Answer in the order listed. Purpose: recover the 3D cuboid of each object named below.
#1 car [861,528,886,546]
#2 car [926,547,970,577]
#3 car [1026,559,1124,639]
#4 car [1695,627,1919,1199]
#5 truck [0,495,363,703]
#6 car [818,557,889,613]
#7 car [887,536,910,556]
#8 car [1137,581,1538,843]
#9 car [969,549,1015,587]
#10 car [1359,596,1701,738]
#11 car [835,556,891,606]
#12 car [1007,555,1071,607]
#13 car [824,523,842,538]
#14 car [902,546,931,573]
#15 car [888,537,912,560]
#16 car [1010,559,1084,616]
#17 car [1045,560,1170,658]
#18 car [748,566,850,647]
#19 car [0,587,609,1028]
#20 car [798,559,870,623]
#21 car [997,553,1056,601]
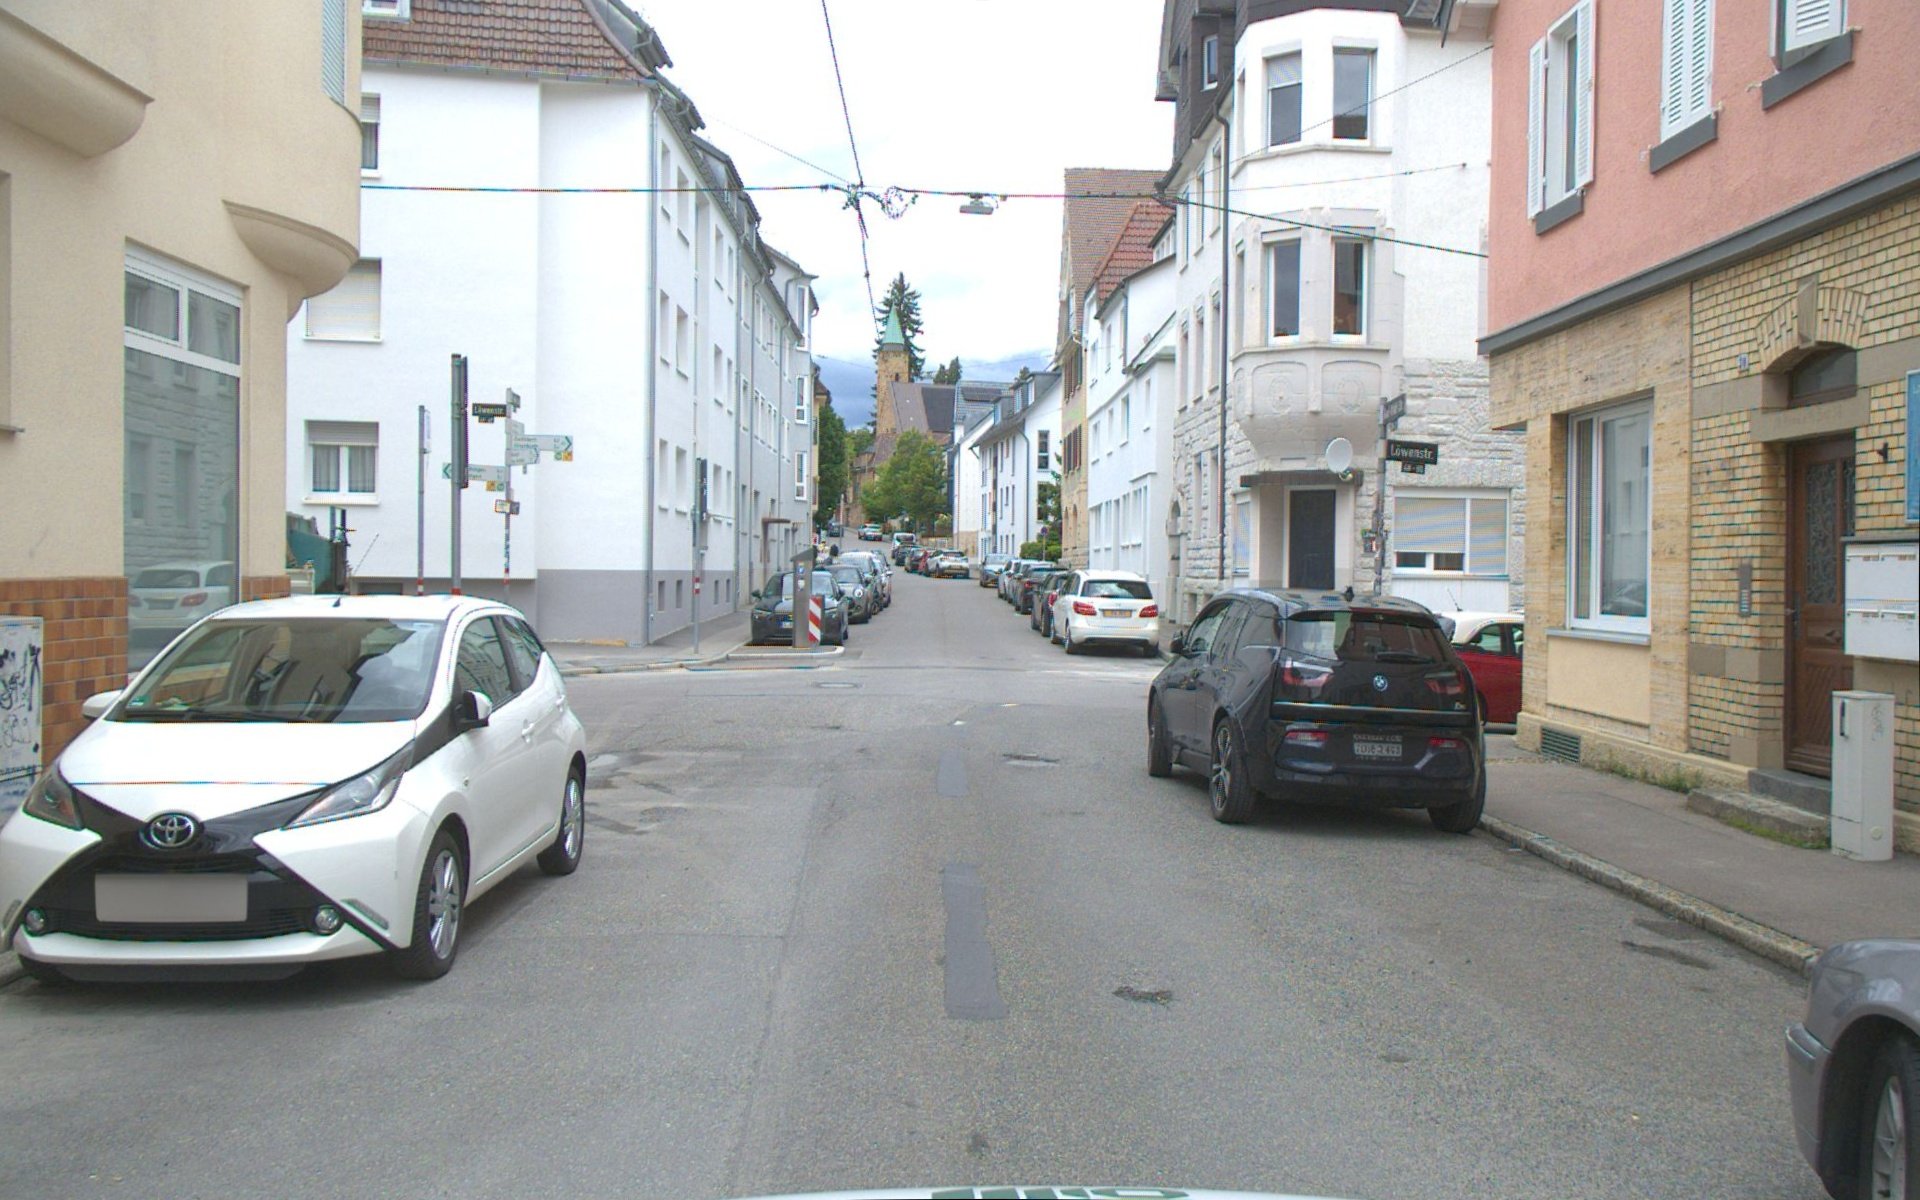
[{"bbox_3d":[-8.841,-6.413,168.584,2.141,1.722,3.620,1,3,-9],"label":"car"},{"bbox_3d":[-0.659,-2.110,90.246,1.752,1.504,3.618,1,3,-11],"label":"car"},{"bbox_3d":[2.544,-0.069,37.542,1.635,1.559,4.025,2,3,-4],"label":"car"},{"bbox_3d":[2.867,0.830,1.992,1.751,1.441,4.576,3,0,-2],"label":"car"},{"bbox_3d":[-11.384,-0.004,21.905,6.150,2.596,2.313,0,0,-9],"label":"truck"},{"bbox_3d":[-2.964,-0.455,46.738,1.694,1.495,3.721,0,2,1],"label":"car"},{"bbox_3d":[-4.852,-4.274,129.836,1.635,1.504,3.624,1,3,-4],"label":"car"},{"bbox_3d":[2.578,0.680,12.312,1.782,1.570,4.024,2,0,-4],"label":"car"},{"bbox_3d":[1.382,-1.420,71.967,1.635,1.504,3.624,2,3,-4],"label":"car"},{"bbox_3d":[6.915,0.792,20.216,3.547,1.505,1.670,2,1,-9],"label":"car"},{"bbox_3d":[-3.048,-0.626,52.162,1.696,1.473,3.718,0,2,-3],"label":"car"},{"bbox_3d":[2.541,-0.657,54.055,1.635,1.504,3.624,2,3,-4],"label":"car"},{"bbox_3d":[-13.360,-7.297,174.053,1.637,1.504,3.620,1,3,-9],"label":"car"},{"bbox_3d":[-2.664,-2.503,101.263,1.635,1.504,3.624,1,3,-4],"label":"car"},{"bbox_3d":[-4.306,-3.686,118.117,1.635,1.504,3.624,1,3,-4],"label":"car"},{"bbox_3d":[2.476,-0.395,47.937,1.635,1.409,4.025,2,3,-4],"label":"car"},{"bbox_3d":[2.822,0.124,32.456,1.784,1.626,4.025,2,3,-4],"label":"car"},{"bbox_3d":[-3.120,0.079,32.774,1.784,1.415,4.296,0,2,-3],"label":"car"},{"bbox_3d":[-2.775,0.699,7.430,1.633,1.459,3.815,0,0,-1],"label":"car"},{"bbox_3d":[-3.149,-0.267,41.851,1.696,1.515,3.718,0,2,-3],"label":"car"},{"bbox_3d":[2.330,-0.837,58.674,1.635,1.504,3.624,2,3,-4],"label":"car"}]
